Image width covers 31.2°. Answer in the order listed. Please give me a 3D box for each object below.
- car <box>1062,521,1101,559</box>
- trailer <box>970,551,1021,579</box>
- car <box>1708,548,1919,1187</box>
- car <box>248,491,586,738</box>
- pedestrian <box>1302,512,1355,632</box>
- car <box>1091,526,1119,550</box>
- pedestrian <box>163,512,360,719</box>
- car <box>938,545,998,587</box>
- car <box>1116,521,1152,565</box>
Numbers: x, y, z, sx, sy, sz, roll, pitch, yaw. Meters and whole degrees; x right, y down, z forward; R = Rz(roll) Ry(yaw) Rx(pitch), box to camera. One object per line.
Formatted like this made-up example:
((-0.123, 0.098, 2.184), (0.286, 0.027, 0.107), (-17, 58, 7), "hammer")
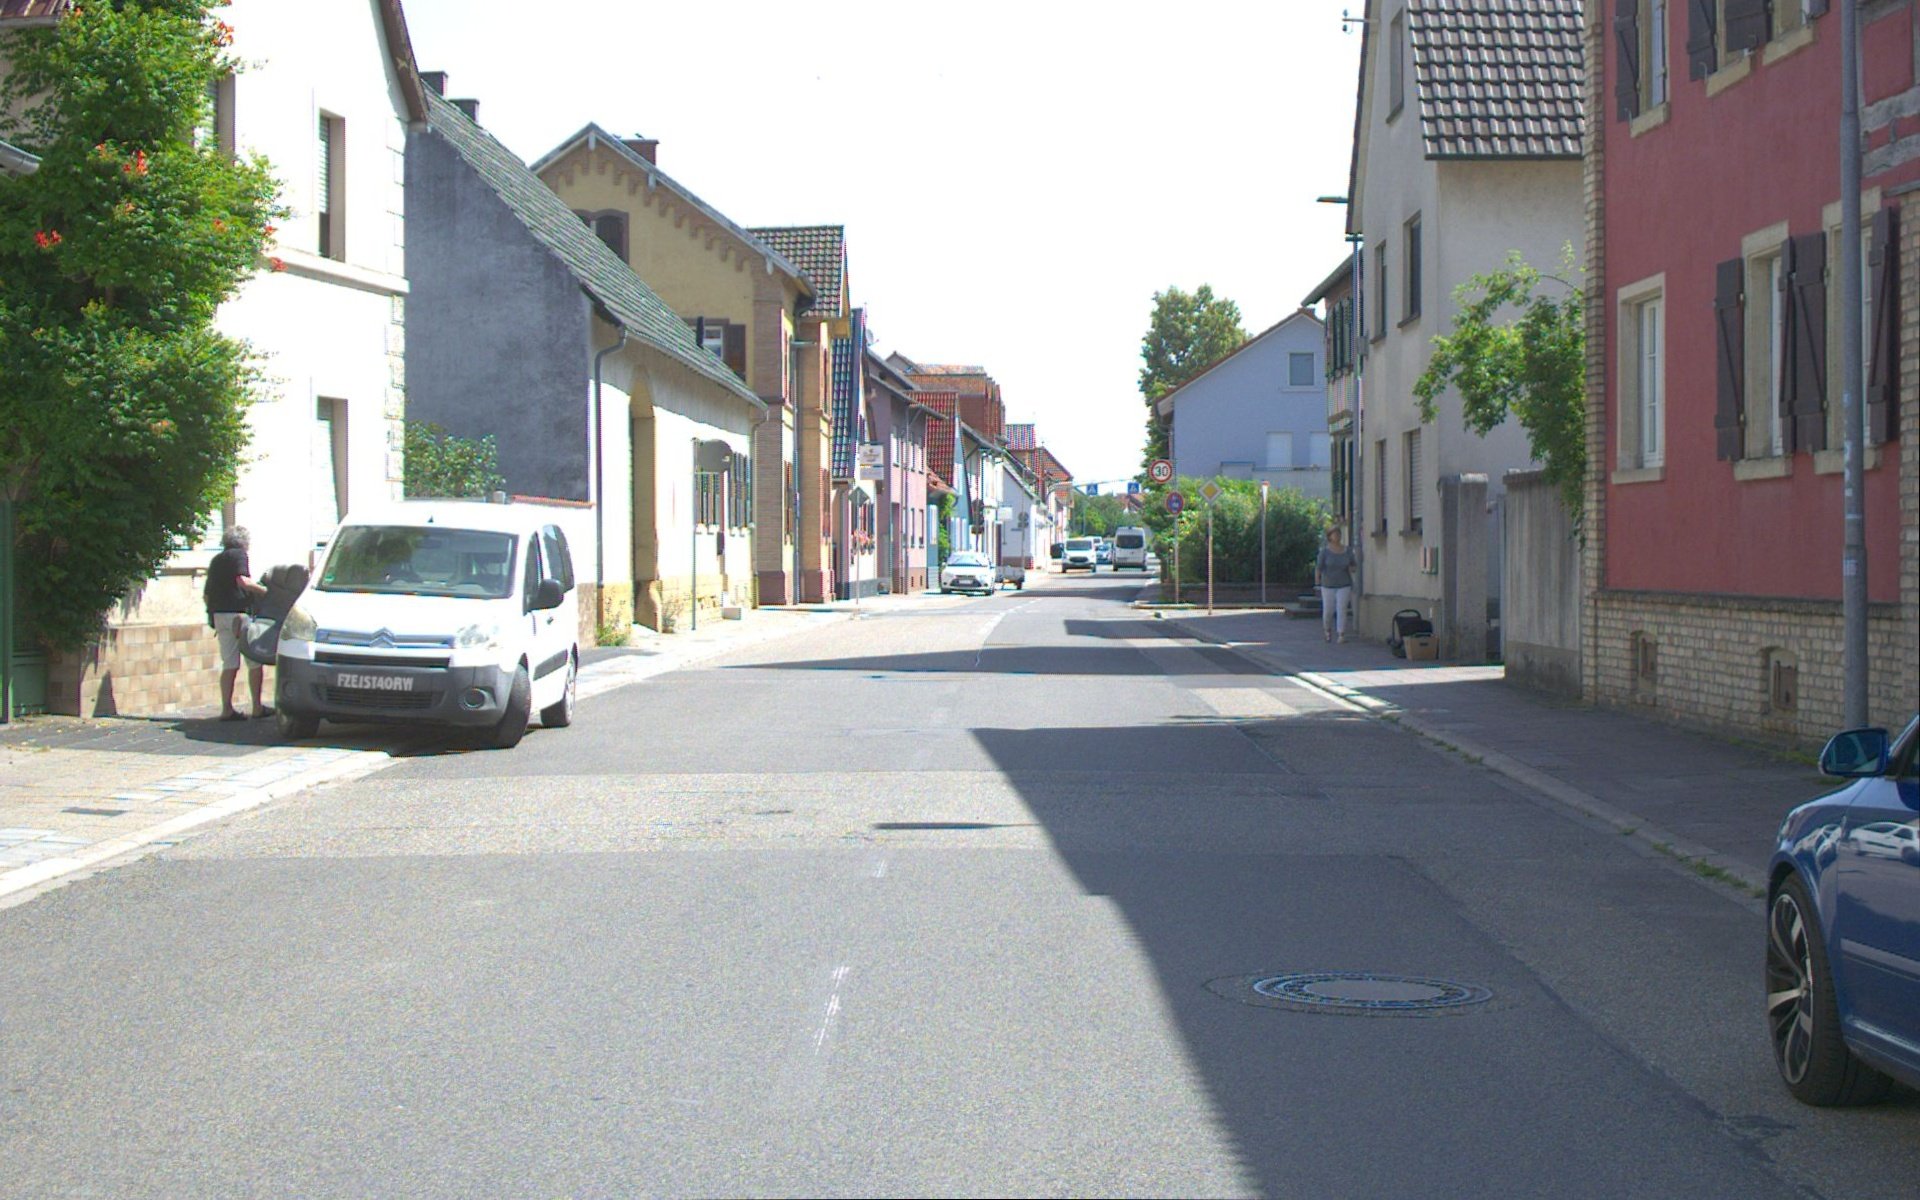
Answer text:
((7.012, -3.458, 198.812), (2.158, 2.073, 4.000), (-1, -1, 1), "car")
((1.411, -1.419, 137.524), (1.993, 1.086, 4.000), (0, 1, 1), "trailer")
((3.069, 0.617, 7.674), (1.698, 1.464, 4.410), (-1, 1, -2), "car")
((-4.009, 0.052, 26.089), (1.855, 1.641, 4.430), (2, 1, -1), "car")
((5.126, -0.392, 47.864), (0.719, 1.658, 0.892), (0, 1, 5), "pedestrian")
((10.596, -4.559, 251.775), (1.994, 1.744, 4.000), (1, 1, 2), "car")
((-5.367, 0.102, 26.409), (1.136, 1.546, 1.016), (0, 1, -39), "pedestrian")
((0.291, -1.216, 120.781), (1.993, 1.437, 4.000), (-1, 1, 2), "car")
((10.391, -3.413, 205.626), (2.017, 2.559, 4.000), (0, 1, 1), "car")
